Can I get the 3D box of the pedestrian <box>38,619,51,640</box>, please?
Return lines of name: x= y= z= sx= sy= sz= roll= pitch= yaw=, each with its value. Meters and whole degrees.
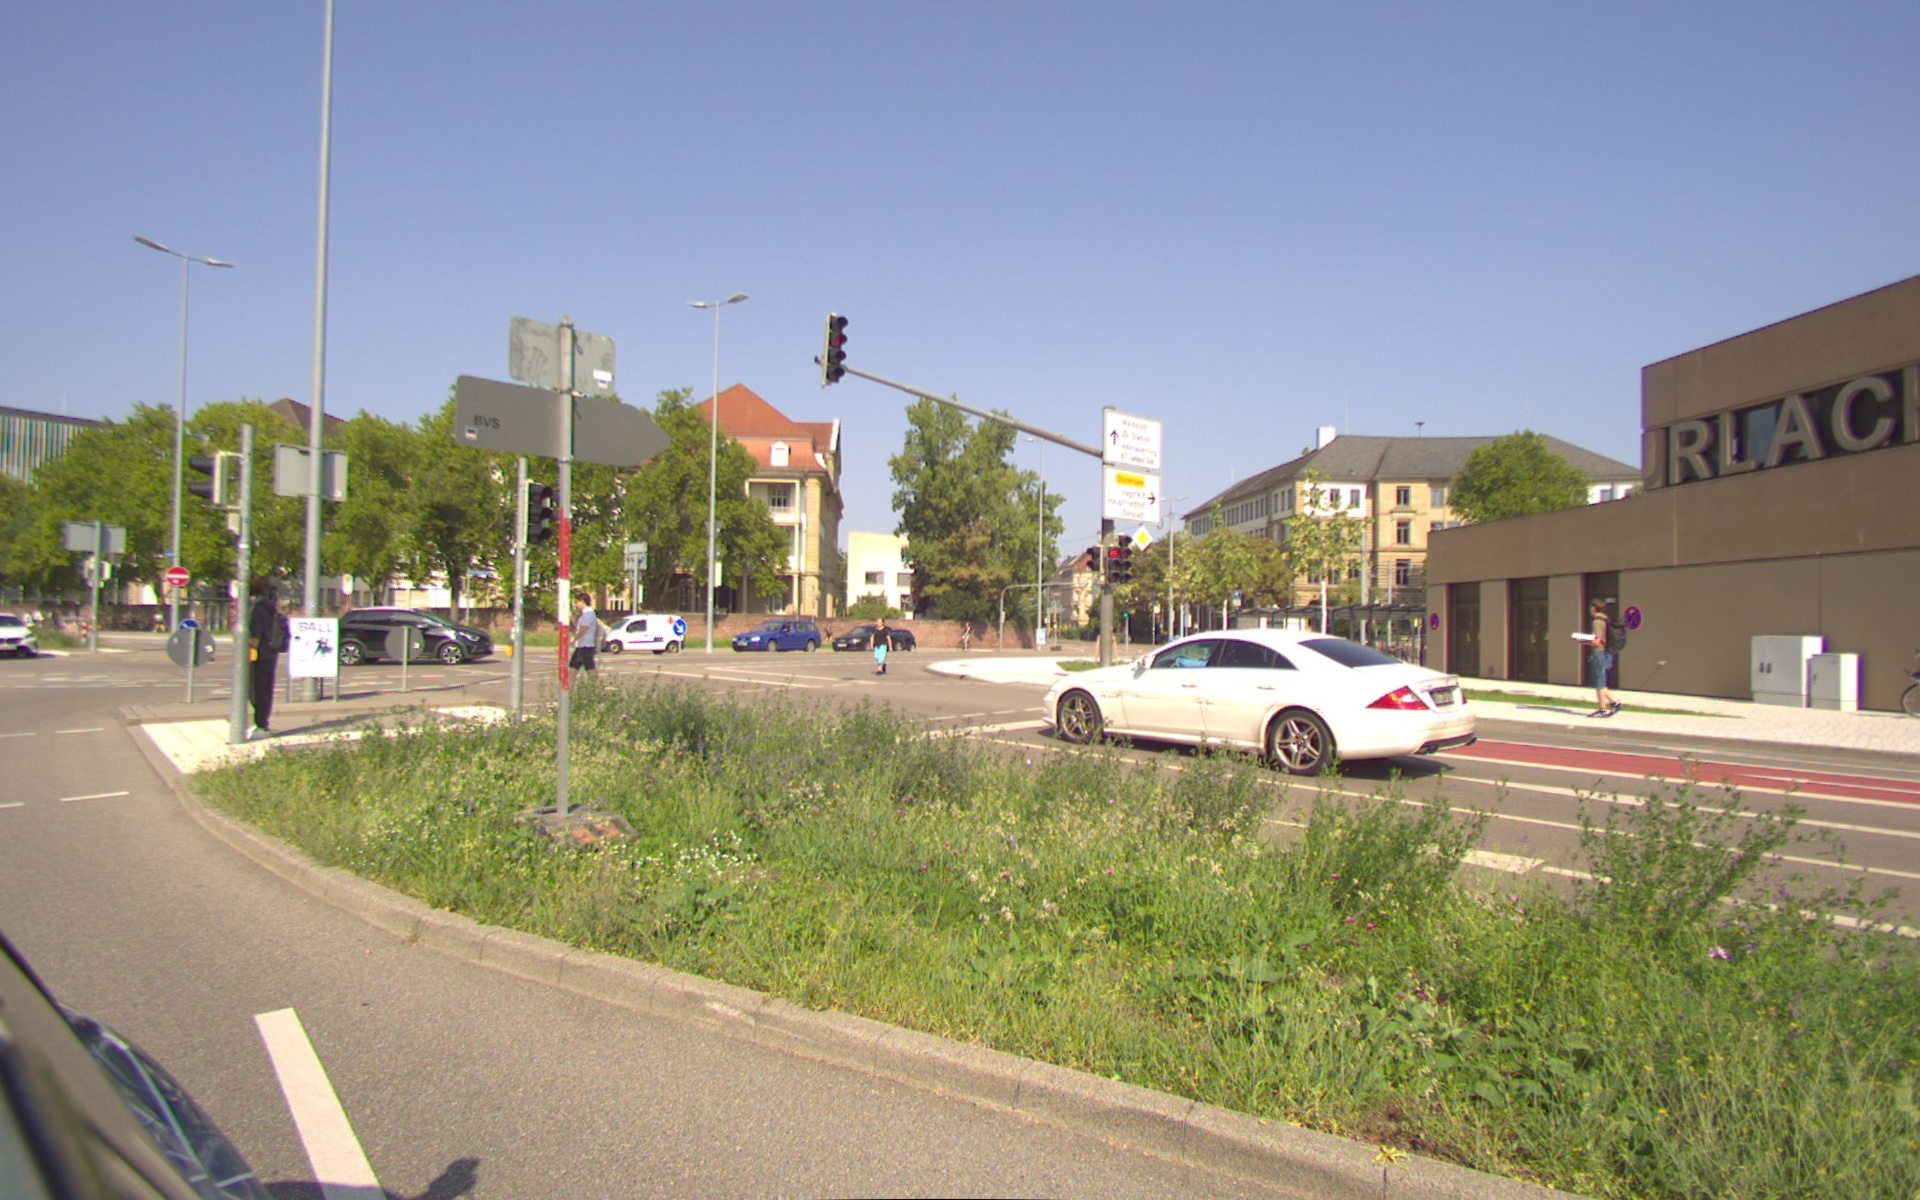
pedestrian: x=-75.420 y=2.423 z=83.360 sx=0.588 sy=1.664 sz=0.481 roll=-2 pitch=-4 yaw=14

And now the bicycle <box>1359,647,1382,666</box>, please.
bicycle: x=20.080 y=2.762 z=49.562 sx=0.404 sy=0.899 sz=1.589 roll=1 pitch=-2 yaw=-3

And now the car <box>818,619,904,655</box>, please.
car: x=-4.543 y=1.706 z=46.870 sx=1.993 sy=1.564 sz=3.958 roll=0 pitch=-2 yaw=31

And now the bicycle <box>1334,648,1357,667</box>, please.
bicycle: x=18.538 y=2.752 z=48.676 sx=0.404 sy=0.899 sz=1.589 roll=1 pitch=-2 yaw=-3

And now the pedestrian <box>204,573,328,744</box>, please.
pedestrian: x=-7.979 y=0.658 z=11.644 sx=1.065 sy=1.854 sz=0.731 roll=2 pitch=-2 yaw=-40

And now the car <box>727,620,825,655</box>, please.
car: x=-7.487 y=1.539 z=41.660 sx=1.601 sy=1.339 sz=4.289 roll=0 pitch=-2 yaw=29

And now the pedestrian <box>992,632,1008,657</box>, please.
pedestrian: x=3.193 y=3.570 z=81.197 sx=0.894 sy=2.029 sz=0.822 roll=2 pitch=-5 yaw=-45

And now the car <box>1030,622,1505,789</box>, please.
car: x=3.135 y=0.971 z=11.245 sx=1.819 sy=1.372 sz=4.825 roll=0 pitch=0 yaw=-42

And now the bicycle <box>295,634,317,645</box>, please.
bicycle: x=-50.732 y=3.095 z=78.553 sx=1.532 sy=0.842 sz=0.433 roll=0 pitch=-2 yaw=9

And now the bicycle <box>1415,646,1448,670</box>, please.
bicycle: x=20.711 y=2.528 z=44.481 sx=0.455 sy=1.017 sz=1.876 roll=1 pitch=-2 yaw=-3

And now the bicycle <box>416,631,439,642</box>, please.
bicycle: x=-40.613 y=2.781 z=77.162 sx=1.531 sy=0.842 sz=0.433 roll=1 pitch=-2 yaw=7

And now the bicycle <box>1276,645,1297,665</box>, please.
bicycle: x=16.358 y=2.746 z=50.748 sx=0.415 sy=0.975 sz=1.589 roll=1 pitch=-2 yaw=-3

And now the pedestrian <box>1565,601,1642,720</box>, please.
pedestrian: x=9.954 y=0.913 z=15.690 sx=0.872 sy=1.773 sz=0.674 roll=-1 pitch=0 yaw=21

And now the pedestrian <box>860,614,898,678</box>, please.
pedestrian: x=-2.083 y=1.174 z=26.026 sx=0.746 sy=1.577 sz=0.664 roll=2 pitch=-2 yaw=13

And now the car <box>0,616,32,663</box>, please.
car: x=-30.984 y=1.225 z=32.137 sx=3.861 sy=1.447 sz=1.693 roll=-1 pitch=-2 yaw=39

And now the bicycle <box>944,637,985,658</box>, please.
bicycle: x=0.285 y=2.809 z=60.272 sx=0.885 sy=1.214 sz=3.042 roll=-4 pitch=-4 yaw=34

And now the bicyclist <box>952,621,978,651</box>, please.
bicyclist: x=0.305 y=2.176 z=60.371 sx=0.885 sy=1.759 sz=1.353 roll=-4 pitch=-4 yaw=34

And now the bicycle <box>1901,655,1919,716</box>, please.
bicycle: x=15.797 y=1.359 z=15.762 sx=0.651 sy=0.963 sz=1.614 roll=-1 pitch=-2 yaw=-5

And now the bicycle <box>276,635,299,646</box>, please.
bicycle: x=-52.393 y=3.151 z=78.847 sx=1.532 sy=0.842 sz=0.433 roll=0 pitch=-2 yaw=9

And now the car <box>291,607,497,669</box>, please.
car: x=-15.375 y=1.051 z=27.799 sx=4.633 sy=1.590 sz=1.859 roll=1 pitch=-2 yaw=-18

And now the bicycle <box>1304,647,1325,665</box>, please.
bicycle: x=17.775 y=2.798 z=50.781 sx=0.404 sy=0.899 sz=1.589 roll=1 pitch=-2 yaw=-3

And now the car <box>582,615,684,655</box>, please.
car: x=-14.418 y=1.555 z=44.726 sx=3.938 sy=1.691 sz=1.759 roll=2 pitch=-5 yaw=-42

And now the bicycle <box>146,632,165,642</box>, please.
bicycle: x=-65.437 y=3.009 z=82.287 sx=1.537 sy=0.842 sz=0.431 roll=0 pitch=-2 yaw=18

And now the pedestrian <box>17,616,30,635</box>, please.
pedestrian: x=-77.788 y=2.106 z=84.074 sx=0.497 sy=1.583 sz=0.533 roll=0 pitch=-2 yaw=11

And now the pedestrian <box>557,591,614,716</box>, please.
pedestrian: x=-5.730 y=0.810 z=15.473 sx=0.683 sy=1.847 sz=0.572 roll=2 pitch=-2 yaw=-30
